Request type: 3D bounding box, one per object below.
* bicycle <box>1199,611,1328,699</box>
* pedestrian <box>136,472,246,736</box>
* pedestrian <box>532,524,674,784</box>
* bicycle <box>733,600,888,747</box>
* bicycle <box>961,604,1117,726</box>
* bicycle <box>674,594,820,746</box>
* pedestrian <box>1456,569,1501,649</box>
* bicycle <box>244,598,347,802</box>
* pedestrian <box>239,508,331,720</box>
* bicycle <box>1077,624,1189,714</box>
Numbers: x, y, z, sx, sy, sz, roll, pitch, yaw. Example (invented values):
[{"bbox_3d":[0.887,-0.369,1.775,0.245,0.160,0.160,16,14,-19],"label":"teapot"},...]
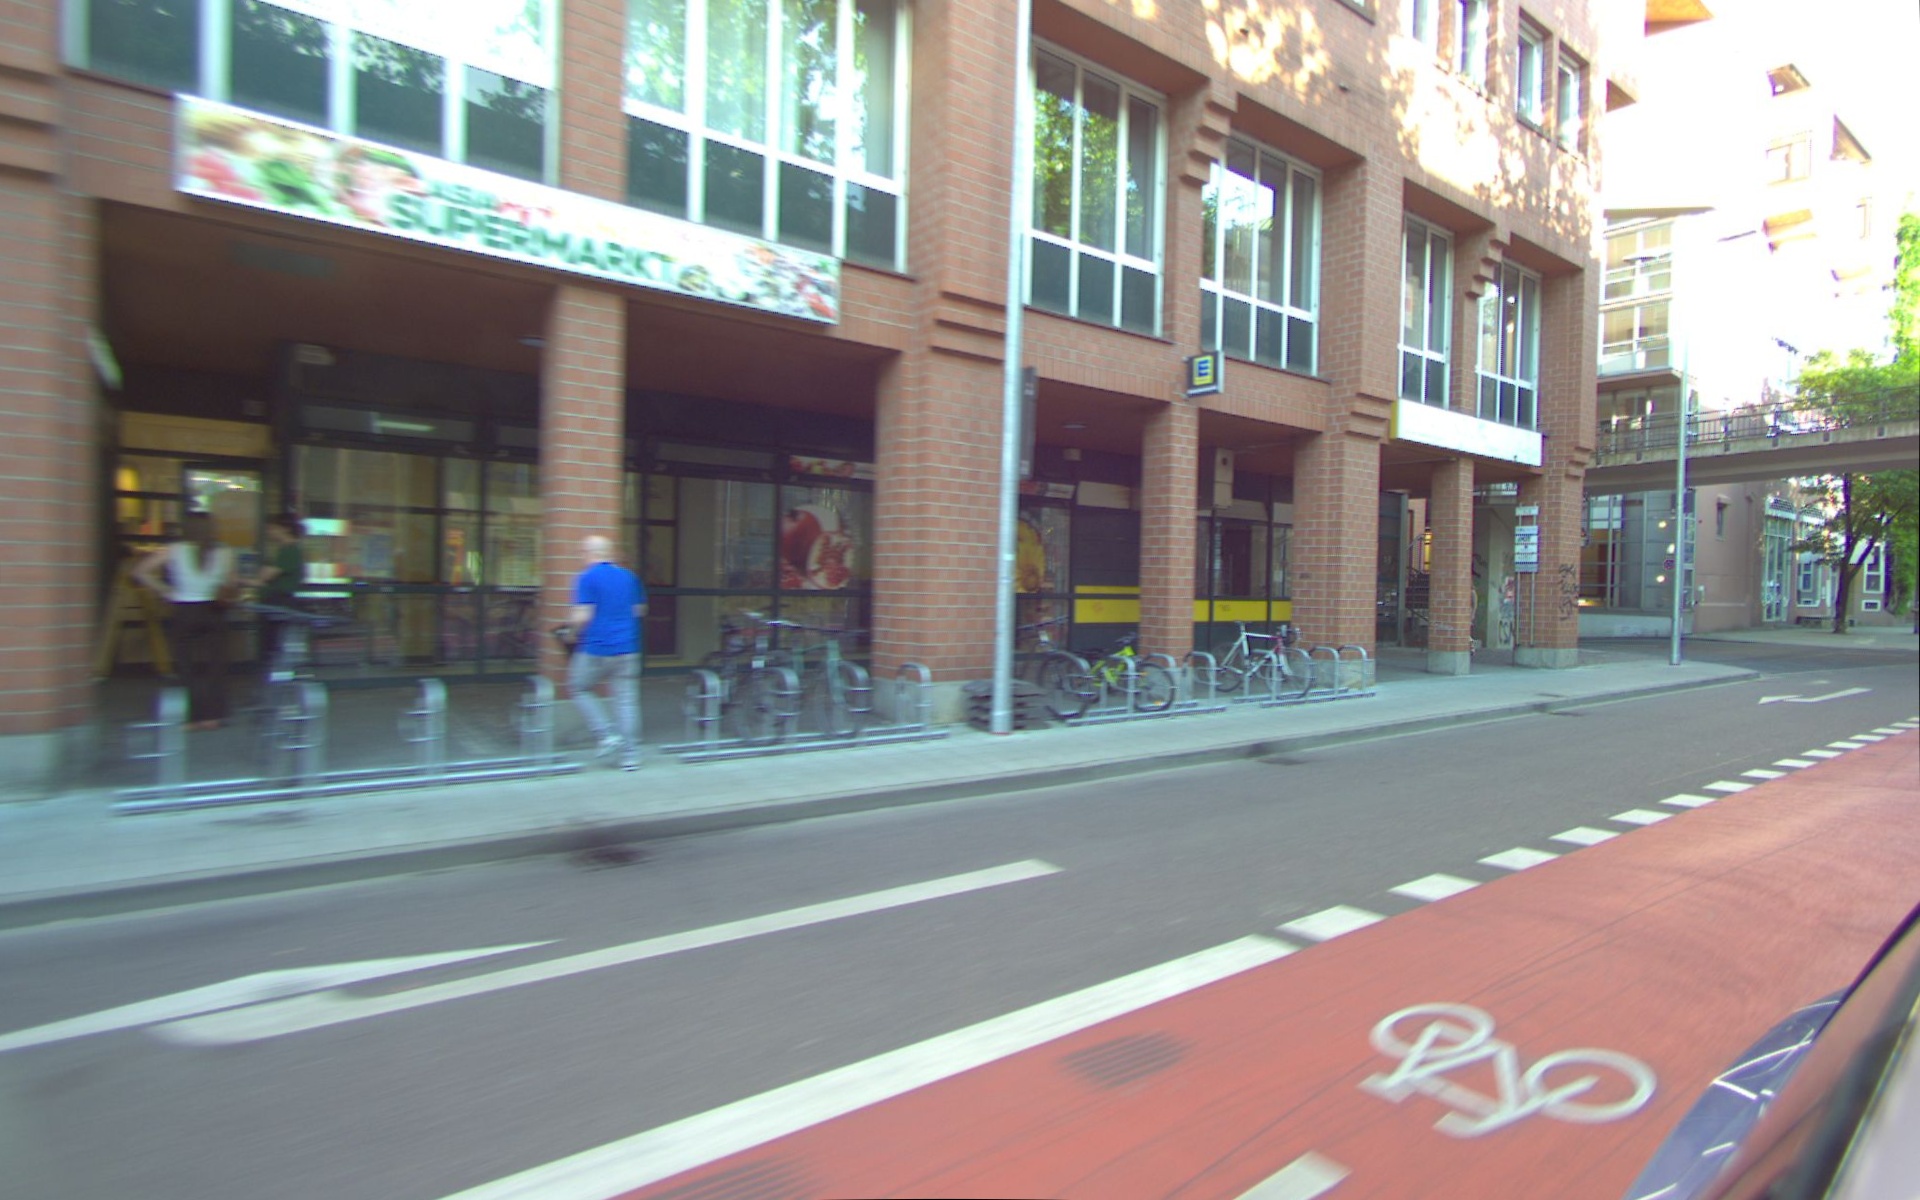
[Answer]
[{"bbox_3d":[3.988,0.693,13.412,0.544,0.966,1.618,0,4,-35],"label":"bicycle"},{"bbox_3d":[-6.268,0.024,8.246,0.650,2.039,0.608,0,1,-43],"label":"pedestrian"},{"bbox_3d":[-2.559,0.332,7.350,0.866,1.717,1.202,1,3,-17],"label":"pedestrian"},{"bbox_3d":[-1.405,0.599,9.189,0.540,1.133,1.897,0,2,-37],"label":"bicycle"},{"bbox_3d":[0.798,0.641,10.845,0.561,1.069,1.941,0,3,-34],"label":"bicycle"},{"bbox_3d":[-1.904,0.545,8.838,0.466,1.133,1.897,0,2,-37],"label":"bicycle"},{"bbox_3d":[10.935,0.187,21.349,0.764,1.654,0.570,0,0,-38],"label":"pedestrian"},{"bbox_3d":[-4.512,0.583,6.824,0.466,1.133,1.897,0,2,-37],"label":"bicycle"},{"bbox_3d":[-6.074,0.112,9.101,0.599,1.818,0.660,0,1,-41],"label":"pedestrian"},{"bbox_3d":[1.969,0.766,11.650,0.416,0.851,1.339,0,4,-35],"label":"bicycle"}]
